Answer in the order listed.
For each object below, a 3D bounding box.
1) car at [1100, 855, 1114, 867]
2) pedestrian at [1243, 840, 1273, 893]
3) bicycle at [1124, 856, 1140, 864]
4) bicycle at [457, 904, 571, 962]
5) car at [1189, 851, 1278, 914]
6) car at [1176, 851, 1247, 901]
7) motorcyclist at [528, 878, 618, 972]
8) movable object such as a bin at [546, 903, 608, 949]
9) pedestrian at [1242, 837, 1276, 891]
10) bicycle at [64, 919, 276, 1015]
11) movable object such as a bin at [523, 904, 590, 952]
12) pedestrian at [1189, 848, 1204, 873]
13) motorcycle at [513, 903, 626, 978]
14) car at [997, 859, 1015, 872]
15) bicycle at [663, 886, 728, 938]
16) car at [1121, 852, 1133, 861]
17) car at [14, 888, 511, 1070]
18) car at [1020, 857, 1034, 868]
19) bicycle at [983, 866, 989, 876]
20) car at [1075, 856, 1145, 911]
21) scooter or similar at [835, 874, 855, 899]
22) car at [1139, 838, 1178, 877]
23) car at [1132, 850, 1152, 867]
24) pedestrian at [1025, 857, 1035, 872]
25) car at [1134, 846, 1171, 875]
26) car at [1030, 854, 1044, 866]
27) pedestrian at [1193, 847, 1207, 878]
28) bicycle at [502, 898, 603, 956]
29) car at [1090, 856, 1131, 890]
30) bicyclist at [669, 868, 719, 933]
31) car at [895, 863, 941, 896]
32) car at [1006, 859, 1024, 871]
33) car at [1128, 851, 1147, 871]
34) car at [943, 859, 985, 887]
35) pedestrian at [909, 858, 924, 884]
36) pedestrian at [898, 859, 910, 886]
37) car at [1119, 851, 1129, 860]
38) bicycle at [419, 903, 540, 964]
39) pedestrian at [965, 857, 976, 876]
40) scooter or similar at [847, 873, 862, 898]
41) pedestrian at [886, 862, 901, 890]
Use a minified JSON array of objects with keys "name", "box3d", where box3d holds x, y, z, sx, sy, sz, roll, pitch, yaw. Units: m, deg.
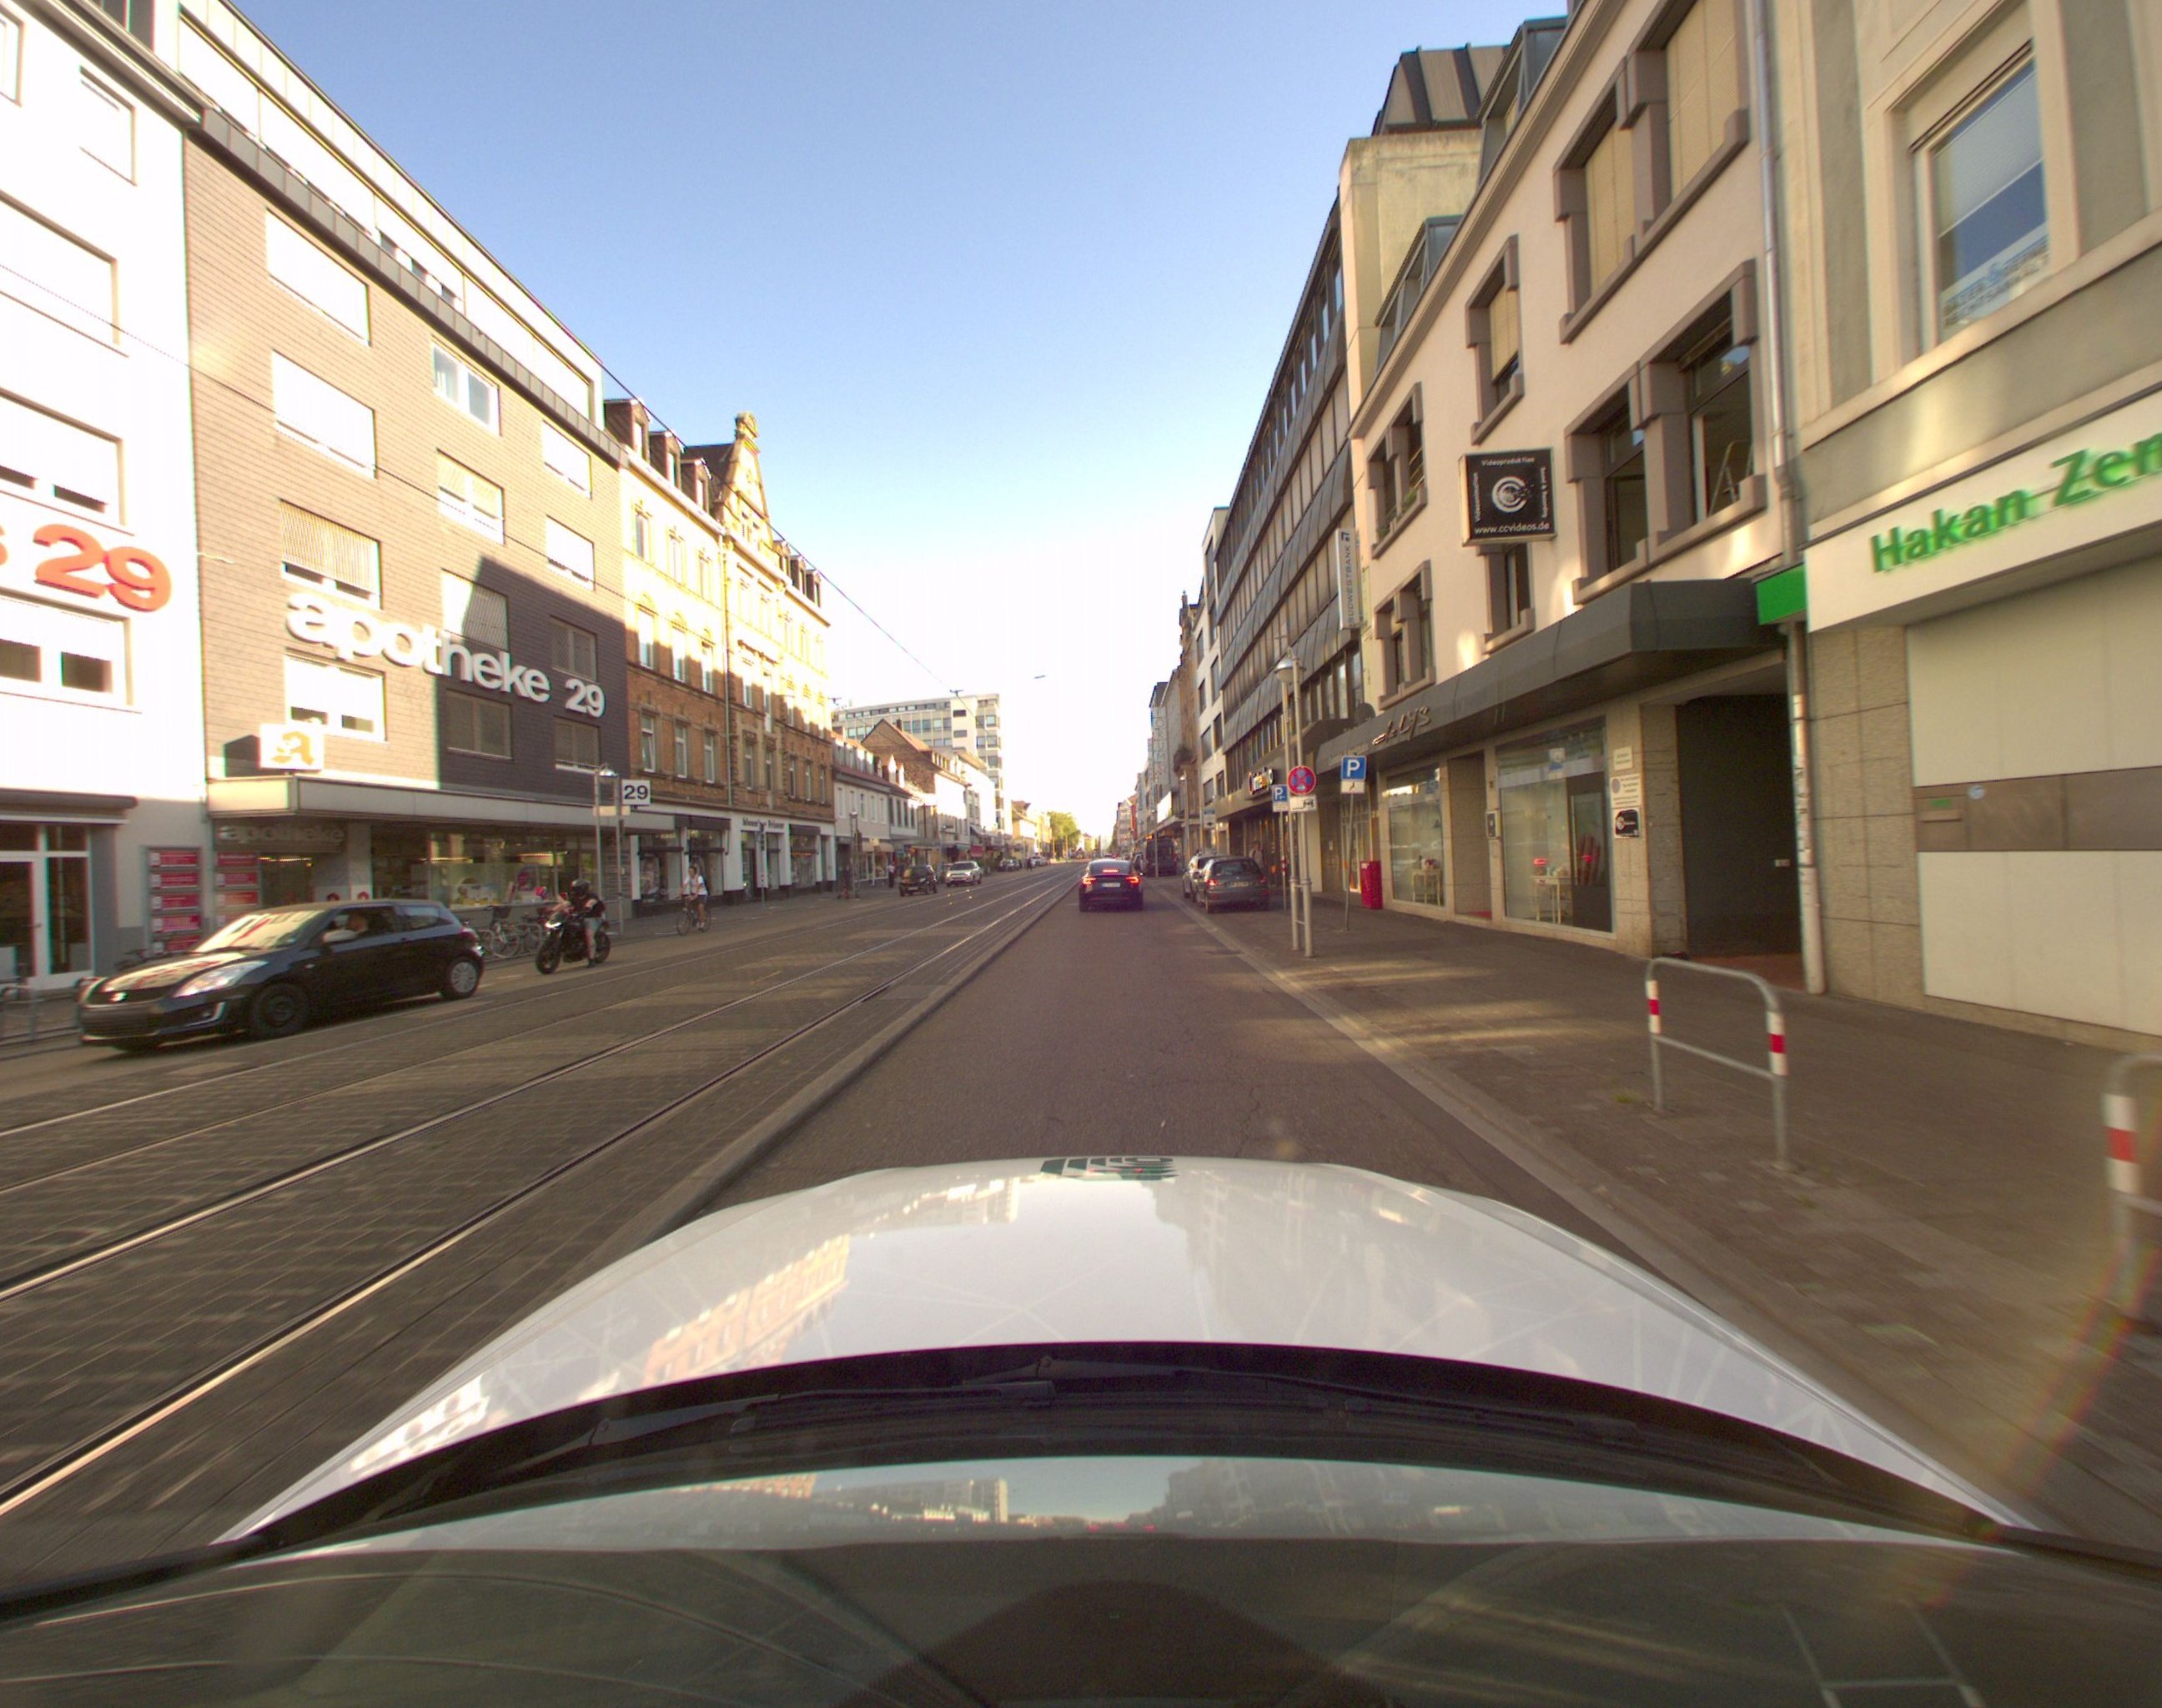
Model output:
[{"name":"car","box3d":[4.228,1.112,132.075,2.077,1.870,3.756,-2,0,2]},{"name":"pedestrian","box3d":[6.077,0.435,27.998,0.776,1.752,1.033,-3,0,3]},{"name":"bicycle","box3d":[7.184,0.832,114.920,2.153,1.097,0.686,-3,0,-1]},{"name":"bicycle","box3d":[-12.718,1.761,18.313,1.930,1.111,0.773,-3,0,-4]},{"name":"car","box3d":[4.103,0.715,22.543,1.840,1.462,4.306,-4,0,4]},{"name":"car","box3d":[4.301,0.671,27.427,1.738,1.462,4.298,-3,0,2]},{"name":"motorcyclist","box3d":[-9.236,1.264,14.867,0.800,1.558,1.147,-4,-1,3]},{"name":"movable object such as a bin","box3d":[-12.615,1.787,20.393,1.095,1.063,0.699,-1,0,2]},{"name":"pedestrian","box3d":[6.369,0.357,29.192,0.919,1.842,1.000,-5,0,3]},{"name":"bicycle","box3d":[-13.243,1.625,11.886,2.098,1.223,0.773,-1,0,-4]},{"name":"movable object such as a bin","box3d":[-12.655,1.786,19.668,1.095,1.072,0.735,-1,0,2]},{"name":"pedestrian","box3d":[7.495,0.417,52.719,0.766,1.543,0.804,-5,0,2]},{"name":"motorcycle","box3d":[-9.183,1.515,14.723,0.567,1.120,2.118,-4,0,2]},{"name":"car","box3d":[-9.645,1.447,105.172,1.762,1.508,3.867,-3,0,3]},{"name":"bicycle","box3d":[-10.753,1.591,22.795,0.747,1.293,2.026,-3,0,2]},{"name":"car","box3d":[8.161,0.479,143.740,1.986,1.543,4.002,-2,-1,2]},{"name":"car","box3d":[-9.461,1.314,10.029,1.706,1.446,4.141,-5,0,2]},{"name":"car","box3d":[-8.542,1.383,128.574,1.710,1.571,3.853,-3,0,4]},{"name":"bicycle","box3d":[-9.789,1.727,83.935,0.369,1.002,1.596,-3,0,-16]},{"name":"car","box3d":[0.893,0.818,24.593,1.862,1.427,4.367,-2,0,2]},{"name":"scooter or similar","box3d":[-11.922,1.623,41.227,0.577,1.202,1.476,-1,0,-1]},{"name":"car","box3d":[5.303,0.218,56.298,2.163,2.461,5.363,-4,0,1]},{"name":"car","box3d":[5.714,0.424,76.717,1.744,1.499,3.756,-3,0,2]},{"name":"pedestrian","box3d":[-6.341,1.272,100.806,0.764,1.849,0.833,-3,0,33]},{"name":"car","box3d":[5.471,0.455,62.842,2.152,1.926,4.615,-6,0,-1]},{"name":"car","box3d":[-8.022,1.054,147.863,2.001,1.961,4.726,-3,0,2]},{"name":"pedestrian","box3d":[6.766,0.471,46.202,0.554,1.714,0.955,-4,0,1]},{"name":"bicycle","box3d":[-12.354,1.699,19.061,1.929,1.190,0.551,-3,0,-3]},{"name":"car","box3d":[1.399,0.876,38.482,1.755,1.418,4.357,-3,-1,2]},{"name":"bicyclist","box3d":[-10.784,1.278,22.718,0.747,1.729,1.147,-3,0,3]},{"name":"car","box3d":[-8.365,1.283,42.079,1.642,1.566,2.831,-3,0,2]},{"name":"car","box3d":[-9.029,1.499,111.296,1.761,1.508,3.866,-3,0,5]},{"name":"car","box3d":[5.749,0.674,82.859,1.814,1.870,3.756,-2,0,2]},{"name":"car","box3d":[-7.604,1.238,53.406,1.882,1.594,4.265,-4,0,2]},{"name":"pedestrian","box3d":[-11.746,1.205,58.093,0.883,1.775,0.688,-2,0,0]},{"name":"pedestrian","box3d":[-12.451,1.296,57.319,0.655,1.823,0.641,-2,0,-4]},{"name":"car","box3d":[9.143,0.410,172.236,1.986,1.753,4.002,-2,-1,2]},{"name":"bicycle","box3d":[-12.865,1.692,17.454,1.930,1.152,0.773,-2,0,-4]},{"name":"pedestrian","box3d":[-8.998,1.018,66.454,0.621,1.444,0.876,-2,-1,6]},{"name":"scooter or similar","box3d":[-11.436,1.580,41.221,0.363,1.202,1.476,-1,0,-1]},{"name":"pedestrian","box3d":[-12.097,1.397,52.501,0.609,1.775,0.721,-3,0,15]}]
